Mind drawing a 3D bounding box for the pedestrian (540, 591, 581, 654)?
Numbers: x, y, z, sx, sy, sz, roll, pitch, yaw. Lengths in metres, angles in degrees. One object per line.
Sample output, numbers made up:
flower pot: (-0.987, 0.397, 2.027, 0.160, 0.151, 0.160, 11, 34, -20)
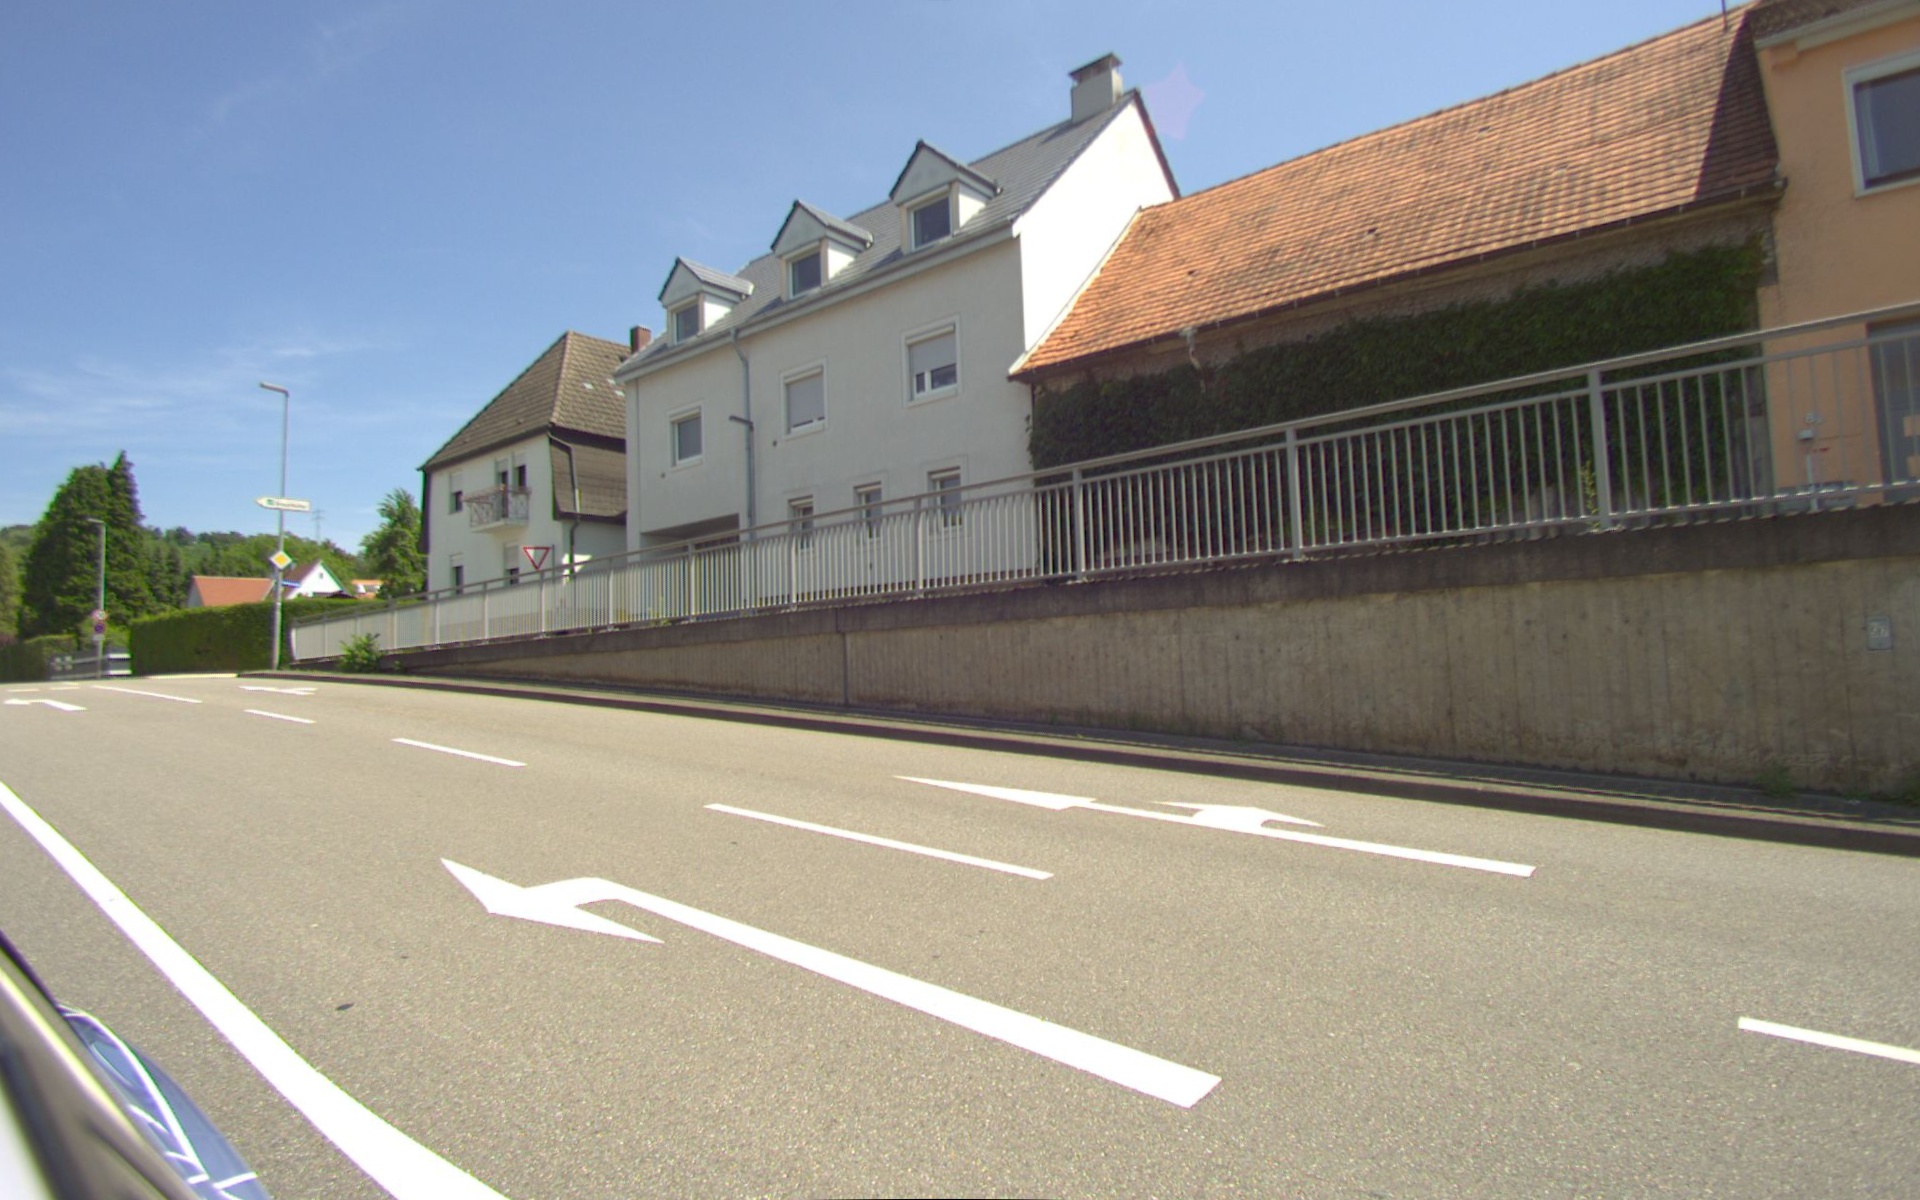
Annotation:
pedestrian: (-11.246, 0.638, 28.480, 0.855, 1.742, 0.720, -2, -2, 38)
